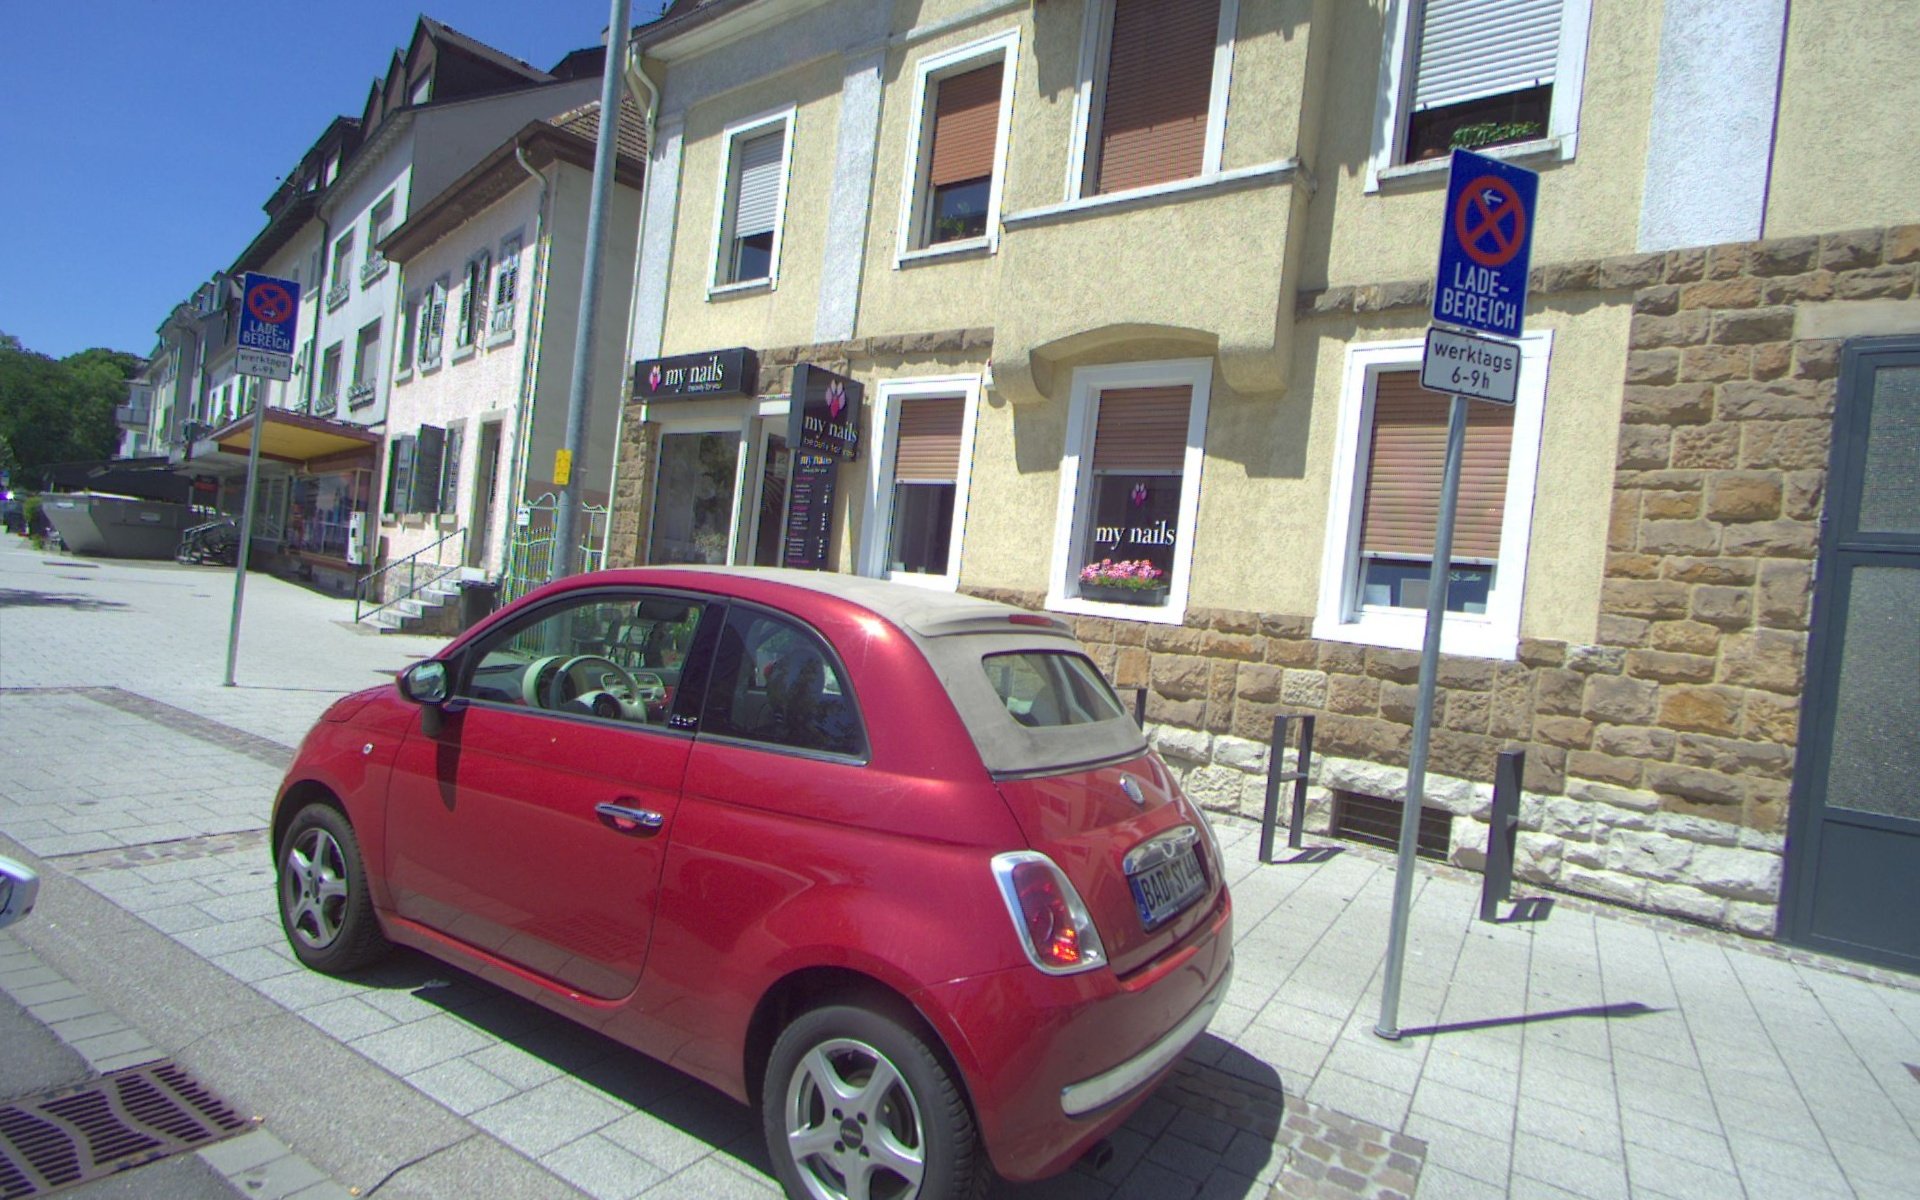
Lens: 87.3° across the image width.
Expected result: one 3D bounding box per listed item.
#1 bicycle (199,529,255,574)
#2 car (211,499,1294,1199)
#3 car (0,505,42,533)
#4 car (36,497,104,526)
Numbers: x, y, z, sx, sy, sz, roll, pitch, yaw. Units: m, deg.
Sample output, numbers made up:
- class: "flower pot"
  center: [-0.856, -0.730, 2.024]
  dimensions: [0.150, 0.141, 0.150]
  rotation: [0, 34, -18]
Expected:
- class: "bicycle"
  center: [-22.584, -1.486, 31.009]
  dimensions: [1.263, 1.197, 0.411]
  rotation: [9, -2, -35]
- class: "car"
  center: [-0.799, 0.586, 3.500]
  dimensions: [3.329, 1.534, 1.680]
  rotation: [6, 1, 30]
- class: "car"
  center: [-58.386, -5.008, 61.830]
  dimensions: [1.856, 1.511, 3.832]
  rotation: [6, 1, -28]
- class: "car"
  center: [-74.657, -7.400, 84.403]
  dimensions: [4.066, 1.735, 1.833]
  rotation: [10, -2, -44]
